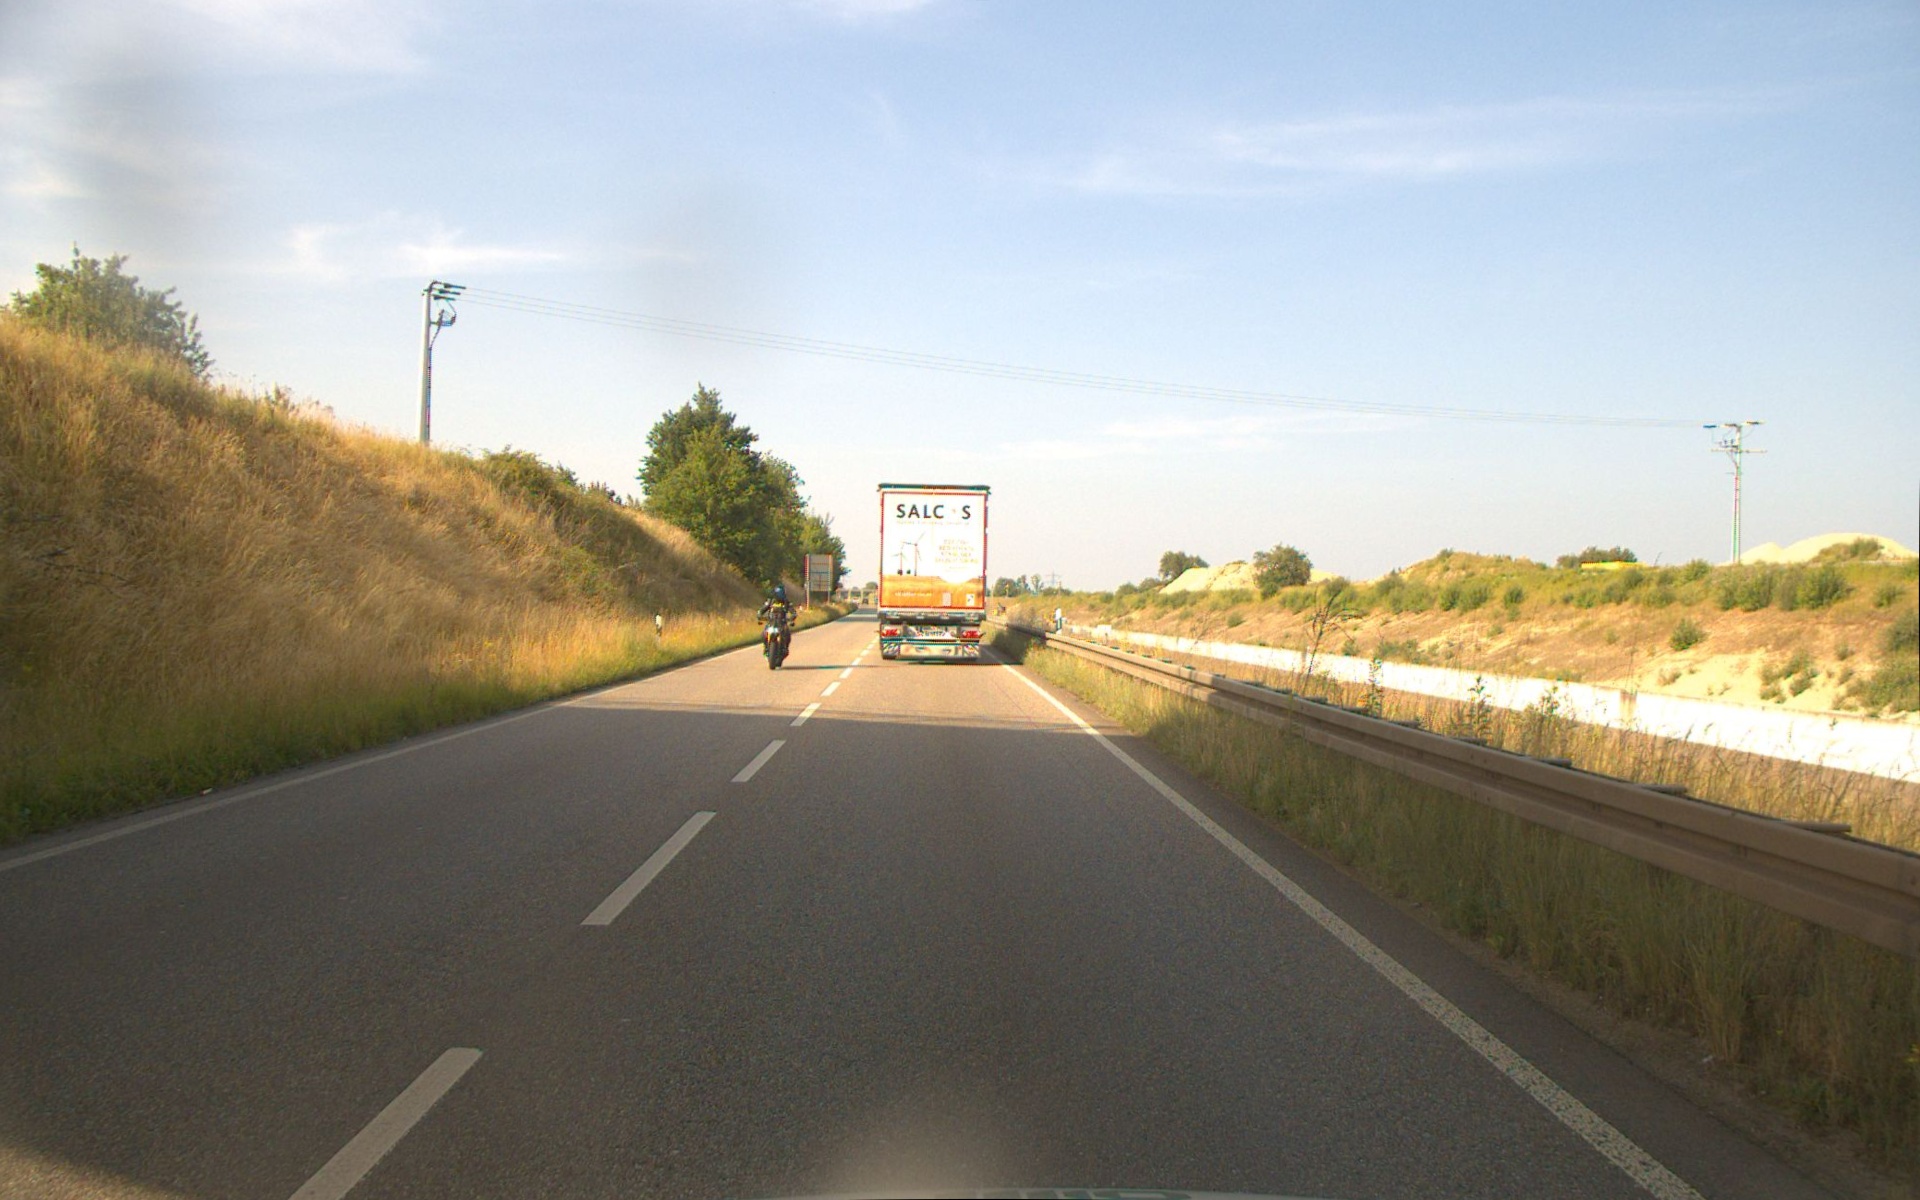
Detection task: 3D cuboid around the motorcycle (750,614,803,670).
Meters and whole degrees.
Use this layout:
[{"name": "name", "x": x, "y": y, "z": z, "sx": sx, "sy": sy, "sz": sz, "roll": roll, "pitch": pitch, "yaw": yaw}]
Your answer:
[{"name": "motorcycle", "x": -3.917, "y": 0.882, "z": 35.460, "sx": 1.020, "sy": 1.137, "sz": 2.131, "roll": 0, "pitch": 0, "yaw": -3}]

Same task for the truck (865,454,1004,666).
[{"name": "truck", "x": -0.811, "y": -0.885, "z": 41.797, "sx": 3.090, "sy": 4.770, "sz": 8.435, "roll": 1, "pitch": 0, "yaw": -3}]

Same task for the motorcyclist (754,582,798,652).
[{"name": "motorcyclist", "x": -3.941, "y": 0.357, "z": 35.487, "sx": 0.862, "sy": 1.477, "sz": 1.283, "roll": 0, "pitch": 0, "yaw": -3}]
